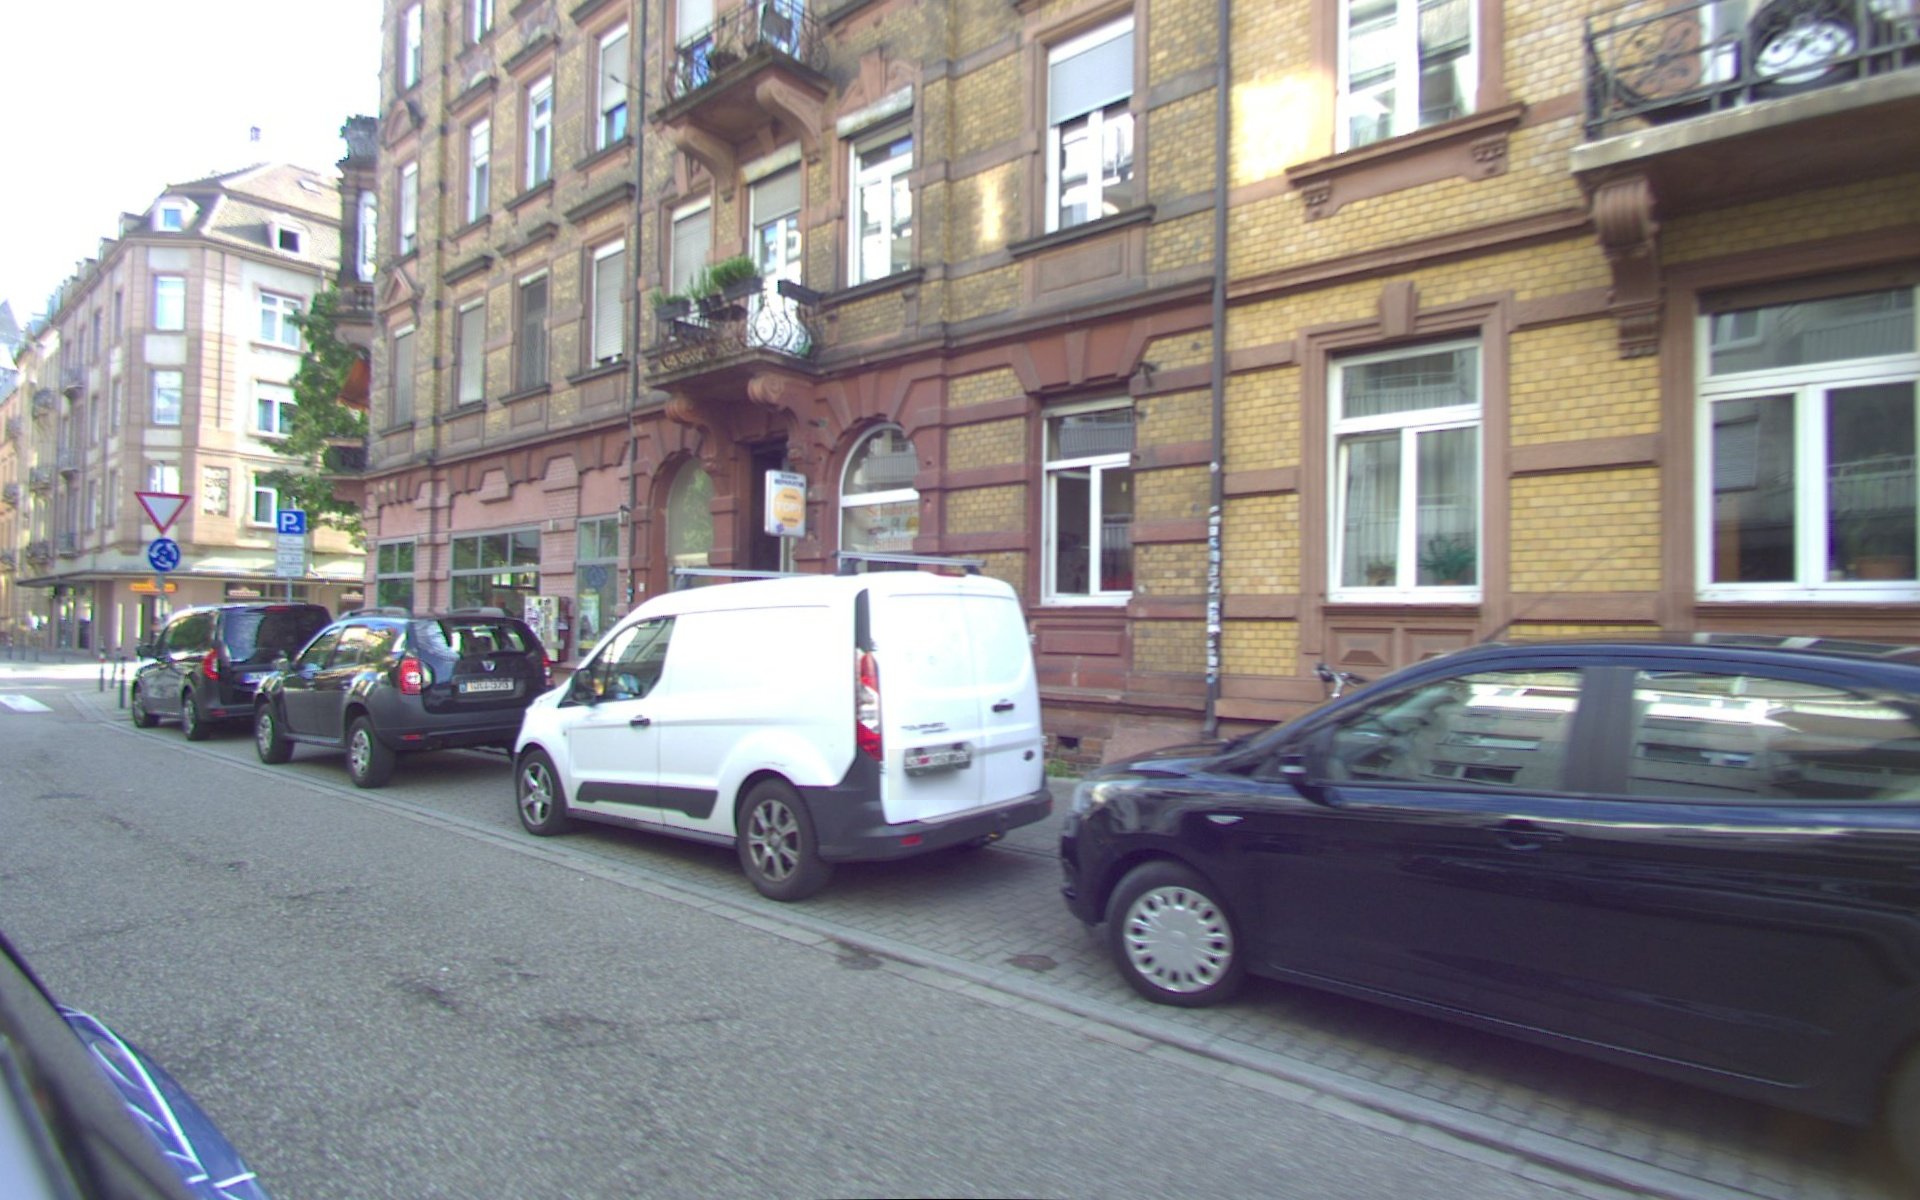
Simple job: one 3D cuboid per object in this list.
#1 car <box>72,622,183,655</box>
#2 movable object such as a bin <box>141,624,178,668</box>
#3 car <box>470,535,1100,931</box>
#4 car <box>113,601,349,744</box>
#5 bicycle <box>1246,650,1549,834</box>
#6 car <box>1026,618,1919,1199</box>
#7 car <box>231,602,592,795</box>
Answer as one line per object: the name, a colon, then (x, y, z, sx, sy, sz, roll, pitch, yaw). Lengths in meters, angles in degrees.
car: (-42.413, 1.938, 51.646, 1.993, 1.633, 3.957, -1, -1, 31)
movable object such as a bin: (-13.486, 0.769, 17.050, 0.475, 0.719, 0.379, -1, -2, 36)
car: (-1.423, 0.697, 7.006, 4.433, 1.886, 1.900, -2, -2, 40)
car: (-10.713, 0.961, 14.755, 4.401, 1.787, 1.742, -2, -1, 40)
bicycle: (3.206, 0.982, 7.567, 1.999, 1.159, 0.562, -1, -1, 40)
car: (2.337, 0.830, 3.712, 3.982, 1.495, 1.723, 0, -1, 42)
car: (-5.933, 0.923, 10.776, 4.141, 1.650, 1.974, -2, -3, 40)
